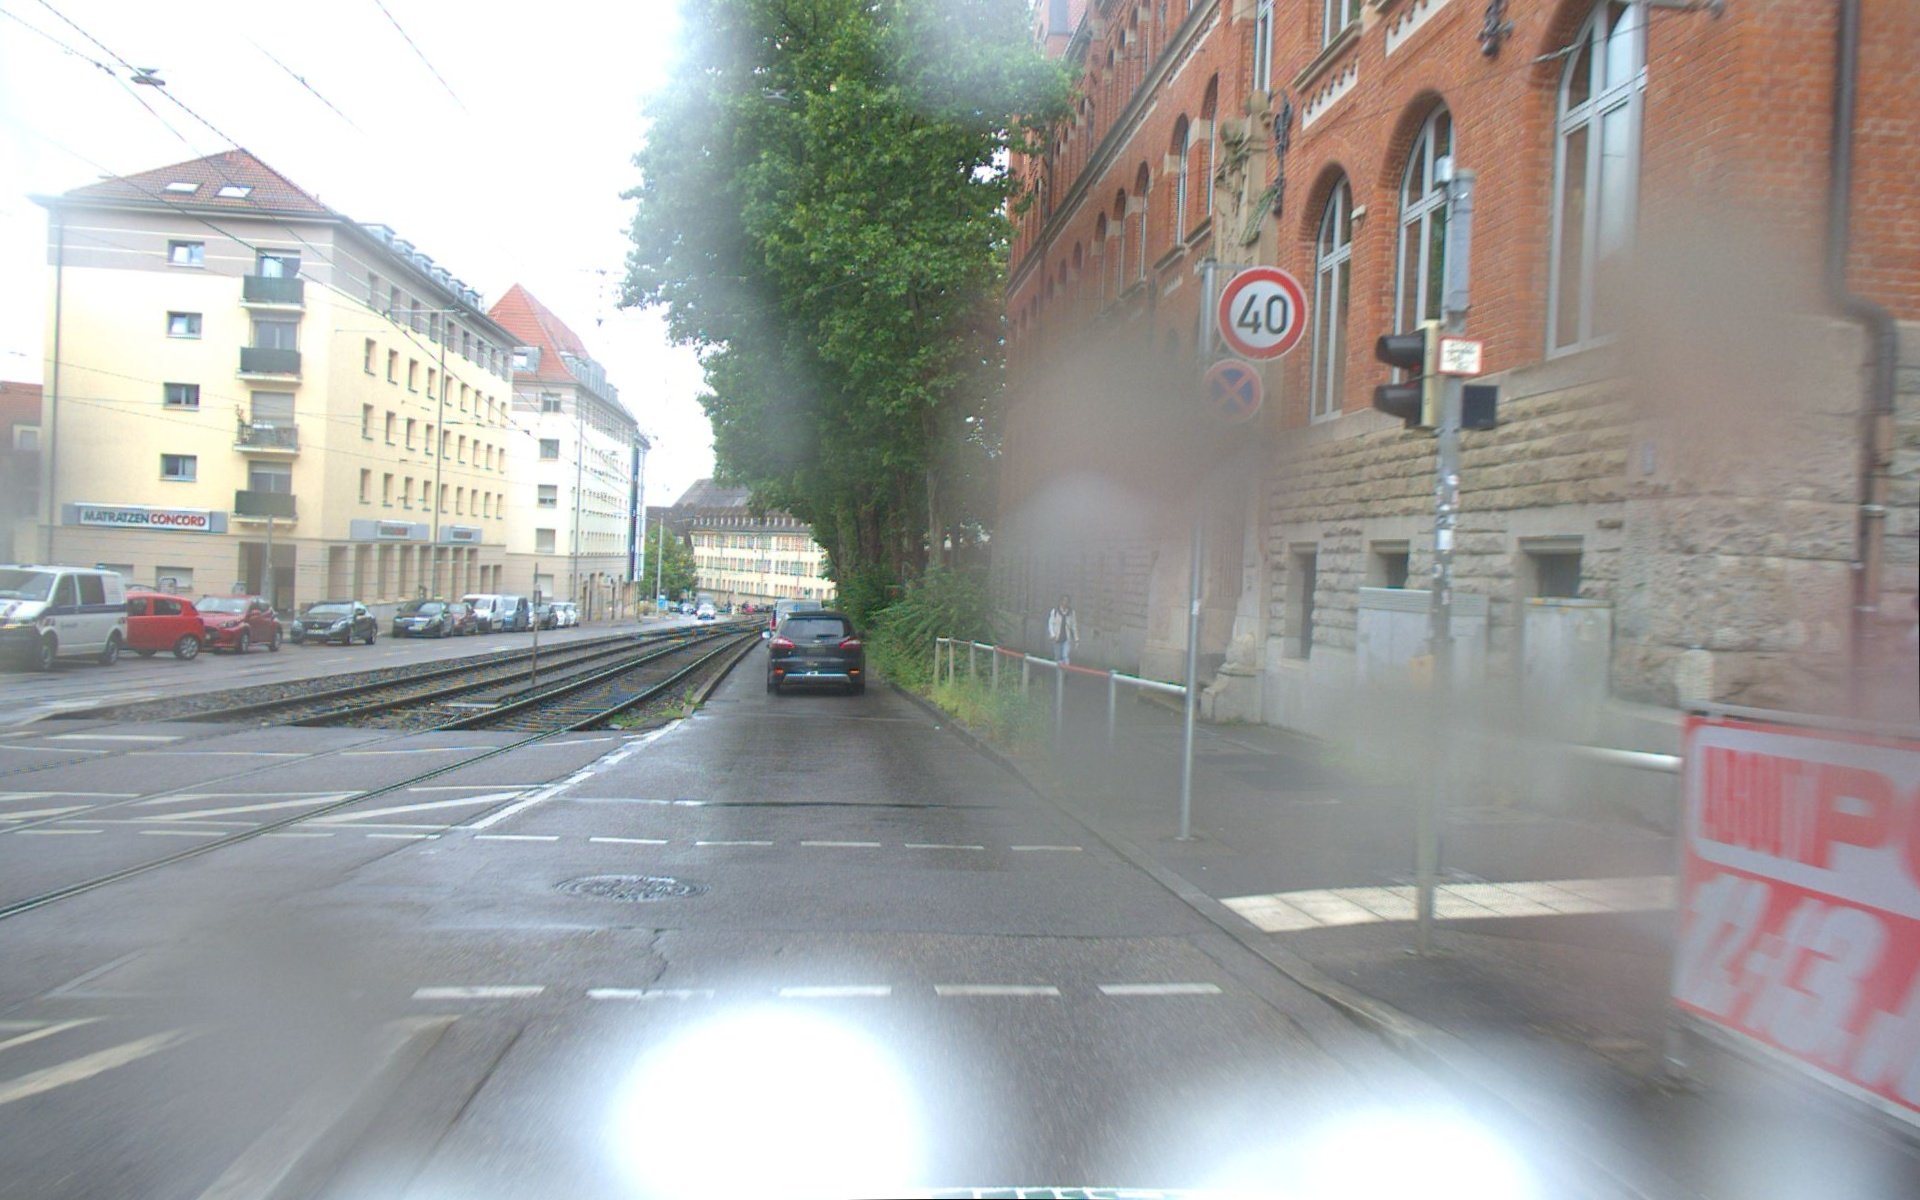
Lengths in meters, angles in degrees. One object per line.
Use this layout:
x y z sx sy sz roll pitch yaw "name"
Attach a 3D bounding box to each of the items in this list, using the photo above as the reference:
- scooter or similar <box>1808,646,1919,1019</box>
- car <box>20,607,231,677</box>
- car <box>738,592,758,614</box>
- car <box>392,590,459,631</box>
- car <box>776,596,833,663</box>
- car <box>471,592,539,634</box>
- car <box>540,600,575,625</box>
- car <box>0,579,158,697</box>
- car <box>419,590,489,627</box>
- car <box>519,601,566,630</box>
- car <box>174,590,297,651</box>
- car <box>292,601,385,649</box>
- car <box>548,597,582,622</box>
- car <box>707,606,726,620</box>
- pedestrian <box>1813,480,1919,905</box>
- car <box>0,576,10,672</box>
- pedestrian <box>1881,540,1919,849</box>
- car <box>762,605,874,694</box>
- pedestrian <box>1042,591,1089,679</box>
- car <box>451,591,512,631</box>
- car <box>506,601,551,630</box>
3.764 0.808 5.892 1.220 1.272 0.638 0 -1 16 "scooter or similar"
-18.905 0.960 37.655 1.746 1.459 3.975 2 -1 29 "car"
-25.611 0.327 199.922 1.954 2.495 5.992 1 -1 -5 "car"
-21.238 0.425 65.901 1.818 1.534 4.979 2 -1 -10 "car"
-5.098 0.955 53.855 1.707 2.049 3.897 2 -1 -7 "car"
-22.825 0.644 83.225 1.953 1.938 5.457 3 -1 -2 "car"
-24.608 0.770 101.290 1.672 1.421 3.928 2 0 -9 "car"
-18.171 0.690 32.962 2.030 2.044 5.296 5 0 -5 "car"
-21.876 0.368 71.668 1.815 1.457 4.826 3 -1 -5 "car"
-23.433 0.856 93.034 1.778 1.525 4.577 3 0 -5 "car"
-19.036 0.538 43.661 1.621 1.477 4.070 1 -1 -4 "car"
-19.762 0.798 52.738 1.647 1.420 4.615 1 -1 -6 "car"
-25.204 0.603 105.681 1.676 1.475 3.536 4 -1 -7 "car"
-26.059 1.394 177.122 1.678 1.488 4.276 1 0 -4 "car"
4.786 0.419 7.788 0.939 1.920 1.072 0 0 -6 "pedestrian"
-17.447 0.376 26.934 1.699 1.680 4.358 2 -1 -6 "car"
5.618 0.504 8.672 0.939 1.654 1.072 0 0 -6 "pedestrian"
-2.661 0.901 31.207 1.895 1.478 4.313 2 -1 -5 "car"
2.096 0.690 32.954 0.806 1.708 0.859 1 -1 -3 "pedestrian"
-22.377 0.528 77.537 1.830 1.747 4.455 1 -1 -5 "car"
-23.068 0.820 88.554 1.658 1.464 4.044 1 0 -6 "car"
